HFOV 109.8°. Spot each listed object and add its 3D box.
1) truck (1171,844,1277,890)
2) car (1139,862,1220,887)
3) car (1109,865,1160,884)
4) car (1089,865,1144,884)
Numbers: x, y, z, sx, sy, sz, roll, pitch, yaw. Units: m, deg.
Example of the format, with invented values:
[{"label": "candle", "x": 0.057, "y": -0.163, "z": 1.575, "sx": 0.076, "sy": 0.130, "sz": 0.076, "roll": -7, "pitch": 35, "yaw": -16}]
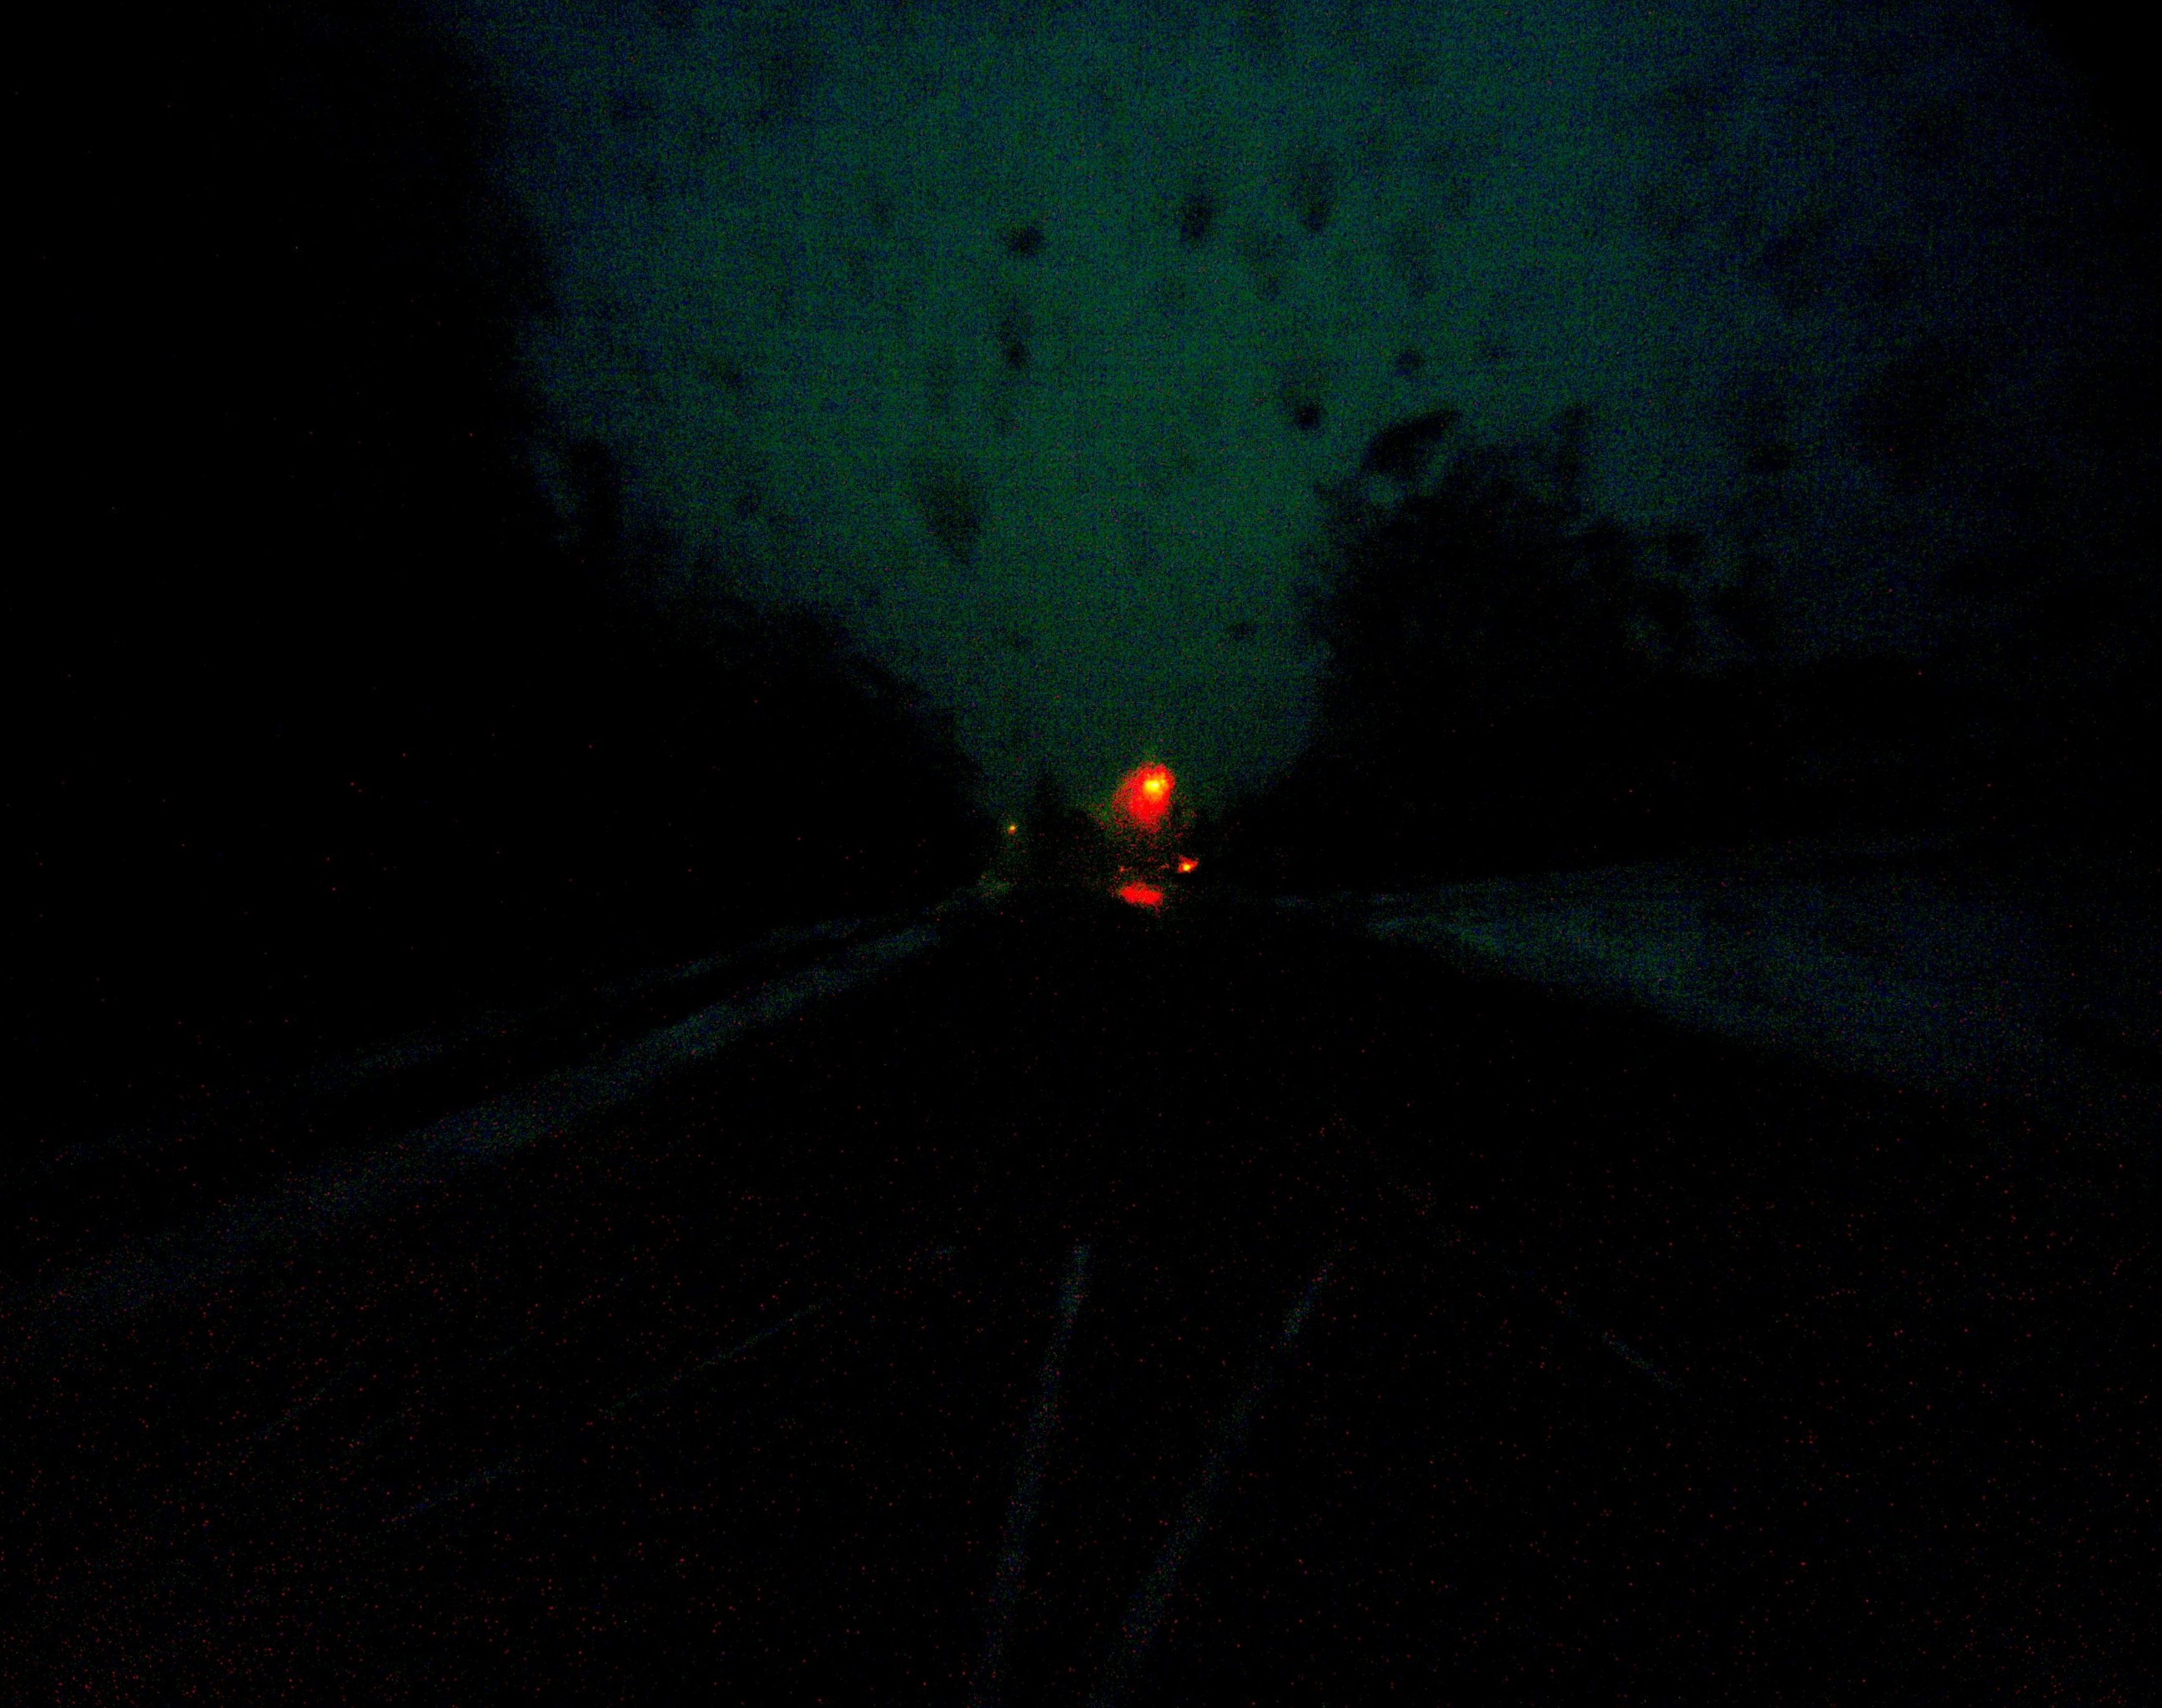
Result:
[{"label": "truck", "x": 7.764, "y": 0.723, "z": 41.326, "sx": 5.281, "sy": 2.288, "sz": 1.998, "roll": 2, "pitch": -2, "yaw": -13}, {"label": "car", "x": 6.594, "y": 1.389, "z": 51.061, "sx": 4.905, "sy": 1.476, "sz": 2.122, "roll": 2, "pitch": -2, "yaw": -12}, {"label": "car", "x": 4.497, "y": 1.767, "z": 64.236, "sx": 3.869, "sy": 1.462, "sz": 1.936, "roll": 2, "pitch": -2, "yaw": -16}, {"label": "car", "x": 3.231, "y": 1.906, "z": 69.917, "sx": 4.547, "sy": 1.556, "sz": 2.108, "roll": 2, "pitch": -2, "yaw": -20}]
